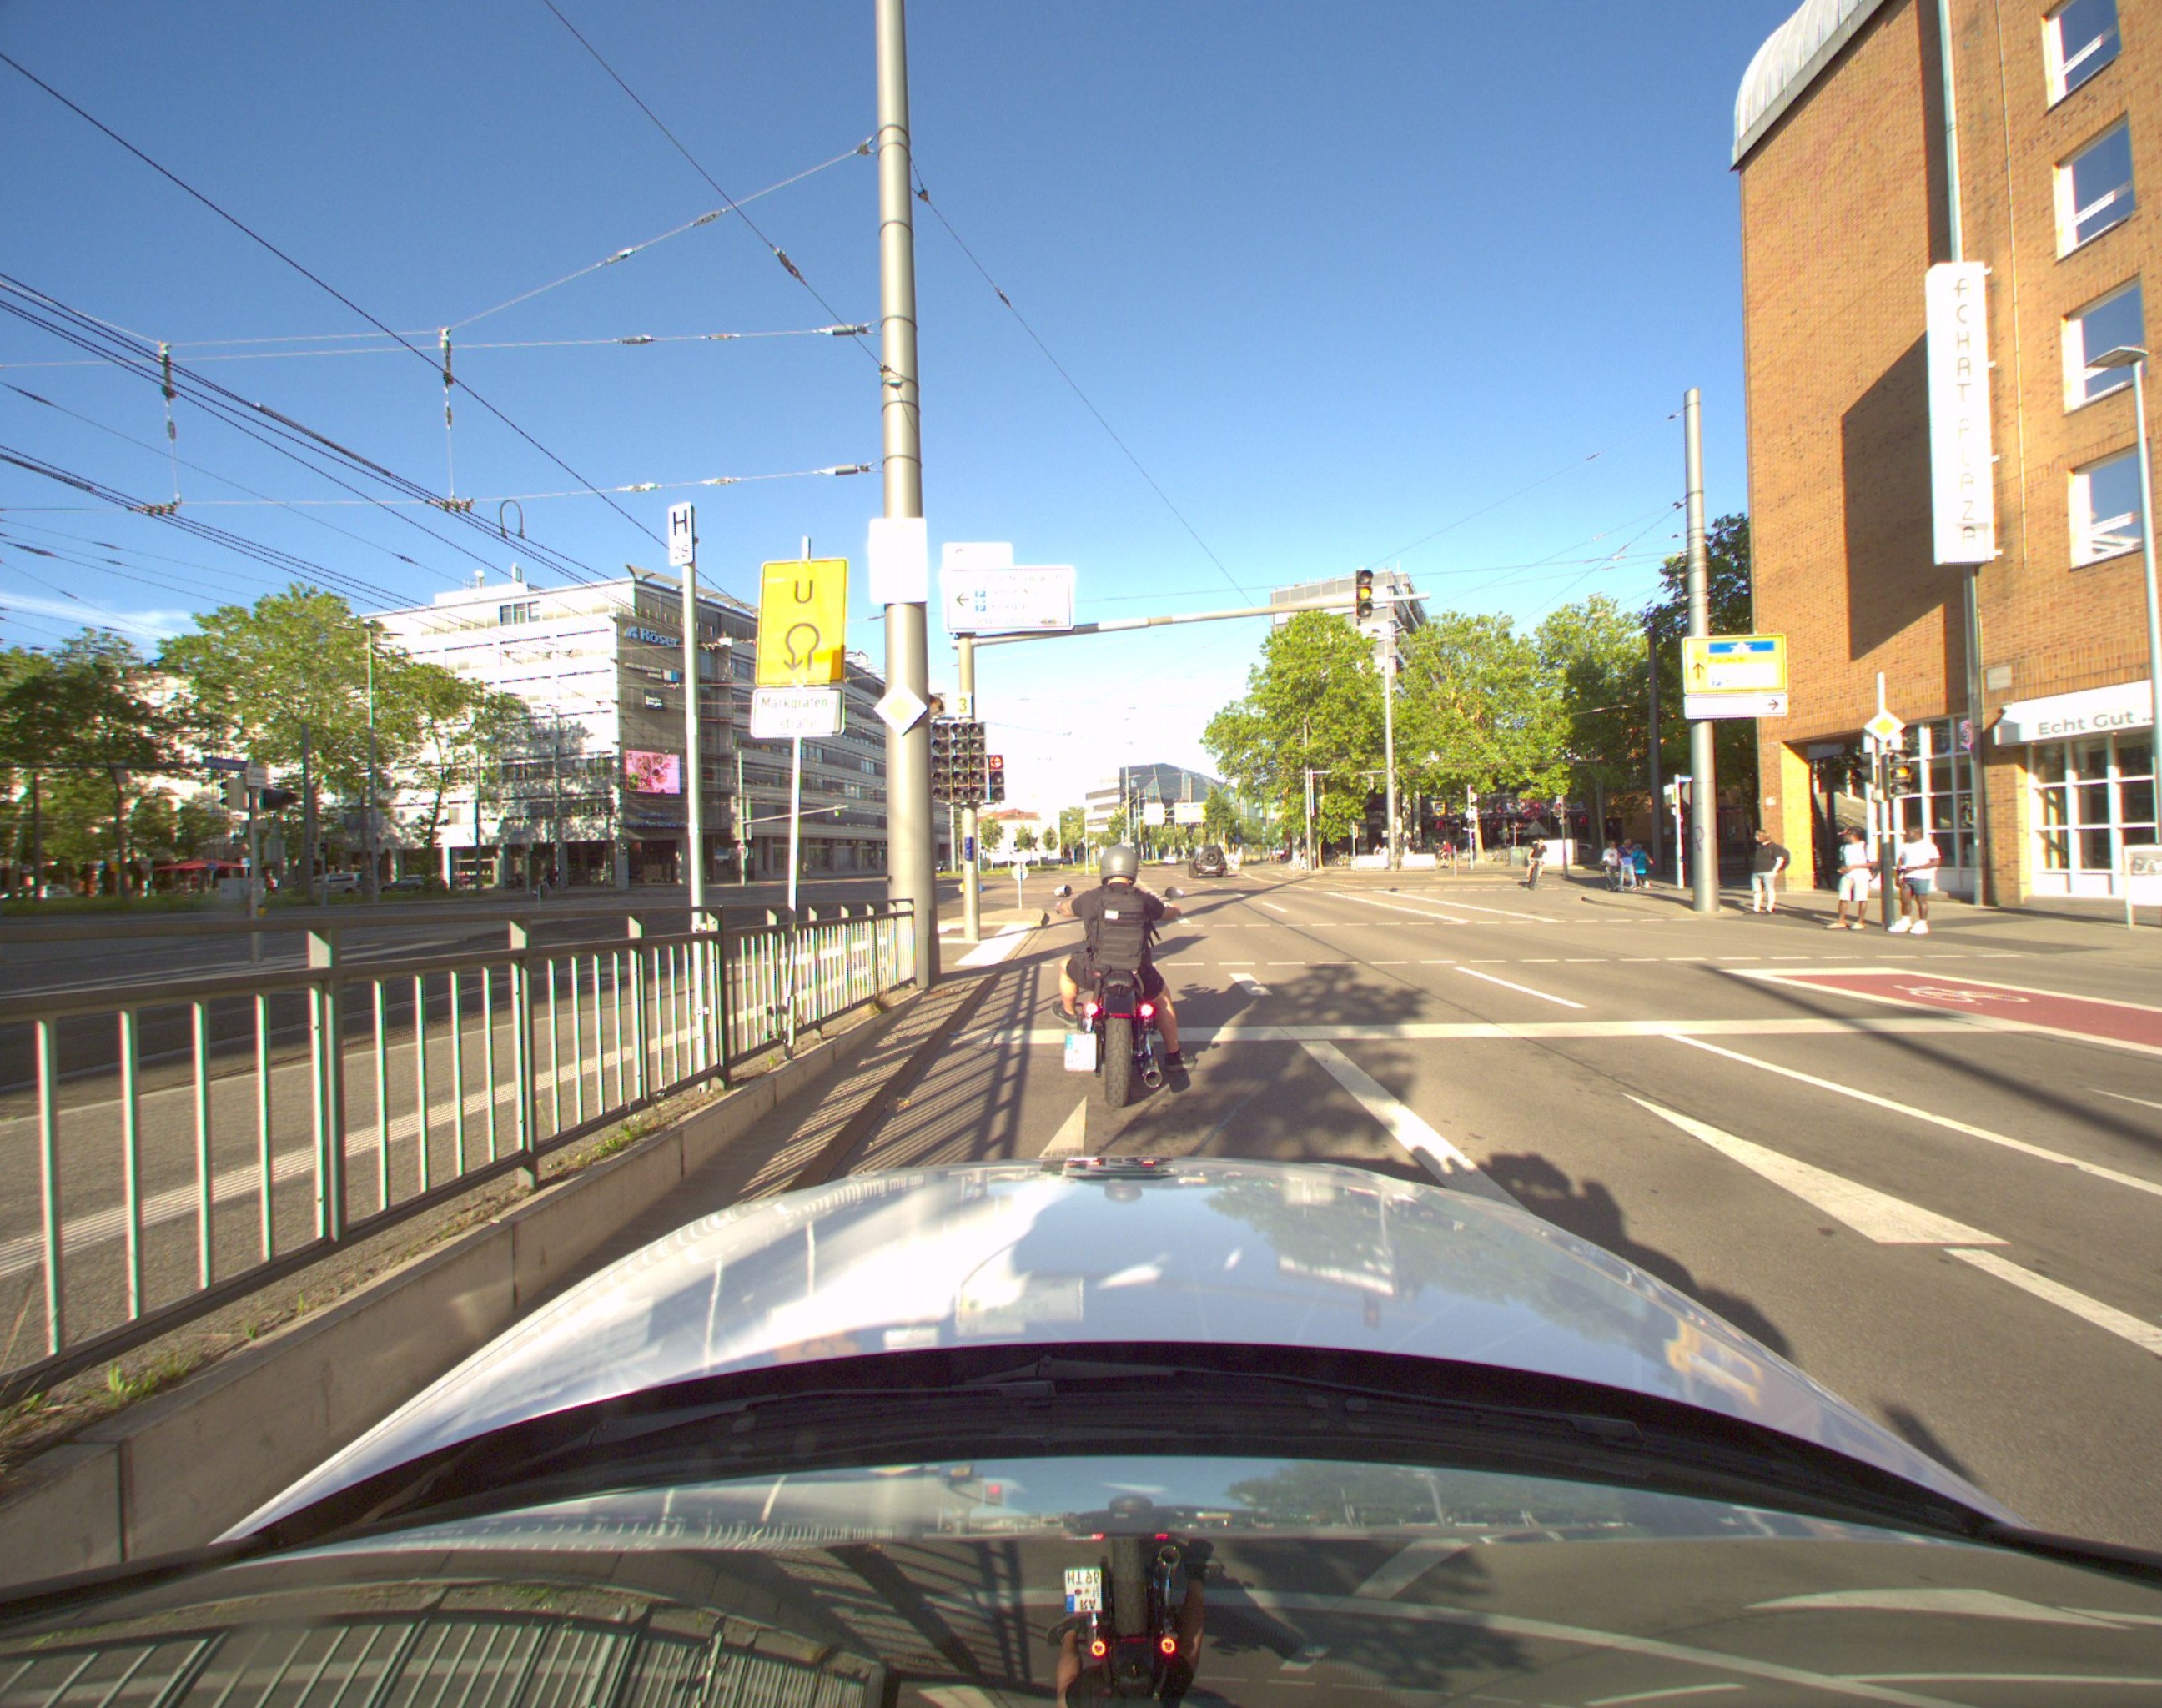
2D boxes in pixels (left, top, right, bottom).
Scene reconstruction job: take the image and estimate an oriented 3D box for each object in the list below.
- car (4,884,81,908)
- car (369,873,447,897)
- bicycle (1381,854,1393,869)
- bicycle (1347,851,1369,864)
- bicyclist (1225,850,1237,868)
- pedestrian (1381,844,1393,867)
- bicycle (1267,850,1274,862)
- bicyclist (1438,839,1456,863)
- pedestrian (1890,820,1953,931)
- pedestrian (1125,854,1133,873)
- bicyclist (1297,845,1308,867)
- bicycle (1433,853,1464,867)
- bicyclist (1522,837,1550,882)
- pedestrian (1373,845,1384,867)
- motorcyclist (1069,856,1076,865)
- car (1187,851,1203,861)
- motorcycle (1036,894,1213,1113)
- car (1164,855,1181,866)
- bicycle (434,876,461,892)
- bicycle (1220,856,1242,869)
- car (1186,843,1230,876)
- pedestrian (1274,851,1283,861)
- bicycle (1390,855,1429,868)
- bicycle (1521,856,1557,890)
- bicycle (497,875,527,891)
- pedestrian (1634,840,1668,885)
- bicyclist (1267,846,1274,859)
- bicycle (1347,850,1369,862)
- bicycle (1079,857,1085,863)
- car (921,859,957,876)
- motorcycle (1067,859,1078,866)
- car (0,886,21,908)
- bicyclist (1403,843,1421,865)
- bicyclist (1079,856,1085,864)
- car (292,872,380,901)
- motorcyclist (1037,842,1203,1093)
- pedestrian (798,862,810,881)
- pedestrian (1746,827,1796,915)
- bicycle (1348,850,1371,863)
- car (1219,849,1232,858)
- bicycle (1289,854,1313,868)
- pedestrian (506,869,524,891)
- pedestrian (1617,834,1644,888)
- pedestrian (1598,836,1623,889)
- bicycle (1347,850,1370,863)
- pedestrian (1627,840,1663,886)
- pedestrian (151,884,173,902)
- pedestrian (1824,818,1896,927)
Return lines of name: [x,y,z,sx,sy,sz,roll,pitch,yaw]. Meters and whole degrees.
car: [-79.772,3.208,62.579,3.835,1.638,1.869,-2,0,6]
car: [-50.620,2.339,61.275,4.378,1.572,1.869,-2,2,6]
bicycle: [21.396,0.527,56.967,0.783,1.052,1.932,-1,-1,20]
bicycle: [22.757,0.291,66.927,1.692,0.986,0.392,-2,0,15]
bicyclist: [12.348,0.413,67.057,0.736,1.503,0.573,-2,-1,25]
pedestrian: [21.392,0.135,56.925,0.763,1.594,0.842,-1,-1,22]
bicycle: [26.128,0.262,112.357,0.854,1.481,2.586,-2,0,15]
bicyclist: [25.236,-0.179,56.134,0.921,1.615,0.638,-2,0,5]
pedestrian: [13.823,0.353,13.395,0.407,1.774,0.573,-3,-1,-33]
pedestrian: [4.083,0.782,69.227,0.654,1.582,0.490,-1,0,5]
bicyclist: [17.688,0.179,64.956,0.737,1.694,0.572,-2,-1,13]
bicycle: [25.308,0.385,56.120,1.844,0.910,0.653,-2,0,6]
bicyclist: [16.031,0.187,28.701,0.574,1.515,0.854,-6,1,18]
pedestrian: [25.175,0.160,68.974,0.840,1.852,0.813,1,0,16]
motorcyclist: [-1.622,1.184,155.571,1.010,1.731,1.468,-2,0,20]
car: [18.508,0.317,132.133,1.759,1.514,3.750,-2,0,18]
motorcycle: [0.284,0.913,5.822,1.002,1.125,2.324,0,0,2]
car: [12.645,0.913,112.365,1.888,1.508,4.014,-1,-1,13]
bicycle: [-51.198,2.416,65.857,0.466,1.151,1.844,-1,1,9]
bicycle: [12.345,0.727,67.009,1.612,1.021,0.519,-2,-1,25]
car: [7.502,0.344,48.487,2.046,1.874,4.227,0,-1,1]
pedestrian: [21.936,0.212,90.336,0.777,1.057,0.819,-2,0,24]
bicycle: [29.079,0.660,72.090,3.025,1.113,0.837,-1,0,6]
bicycle: [16.022,0.635,28.526,0.596,1.050,1.890,-6,0,17]
bicycle: [-43.232,2.192,61.891,1.834,1.163,0.613,-1,3,3]
pedestrian: [19.759,0.301,28.239,0.649,1.539,0.741,0,-1,-6]
bicyclist: [26.135,-0.208,112.453,0.854,1.841,1.262,-2,0,15]
bicycle: [22.896,0.170,67.386,1.692,0.986,0.392,-2,0,15]
bicycle: [0.201,1.244,164.644,0.637,1.107,1.693,-1,0,20]
car: [-13.809,1.331,79.224,1.778,1.465,4.328,-2,0,14]
motorcycle: [-1.629,1.657,155.529,0.975,1.232,2.957,-2,0,19]
car: [-85.425,3.401,63.082,4.056,1.629,1.995,-2,1,2]
bicyclist: [29.279,0.021,72.081,1.220,1.931,0.837,-1,0,7]
bicyclist: [0.203,1.267,164.624,0.757,1.667,0.999,-1,0,19]
car: [-56.105,2.429,61.382,4.888,1.843,1.930,-2,2,3]
motorcyclist: [0.262,0.704,5.694,1.018,1.552,1.287,0,0,1]
pedestrian: [-27.394,1.695,80.454,0.670,1.823,0.888,-3,-1,12]
pedestrian: [14.271,0.344,16.848,0.577,1.767,0.687,-1,1,-39]
bicycle: [22.305,0.178,65.182,1.692,0.986,0.392,-2,0,15]
car: [27.659,-0.098,155.648,1.705,1.484,3.775,-2,0,23]
bicycle: [17.545,0.551,64.978,1.840,1.021,0.518,-2,-1,13]
pedestrian: [-43.200,1.958,62.179,0.831,1.610,0.607,0,3,5]
pedestrian: [17.723,0.218,26.258,0.596,1.727,0.606,-1,-1,43]
pedestrian: [17.108,0.270,26.327,0.556,1.704,0.663,-1,-1,42]
bicycle: [22.501,0.214,66.023,1.692,0.986,0.392,-2,0,15]
pedestrian: [19.027,0.301,27.476,0.674,1.539,0.741,0,-1,-6]
pedestrian: [-81.922,3.430,72.609,0.985,1.546,0.875,-2,-1,9]
pedestrian: [13.609,0.325,14.234,0.500,1.833,0.725,-3,-1,-33]
